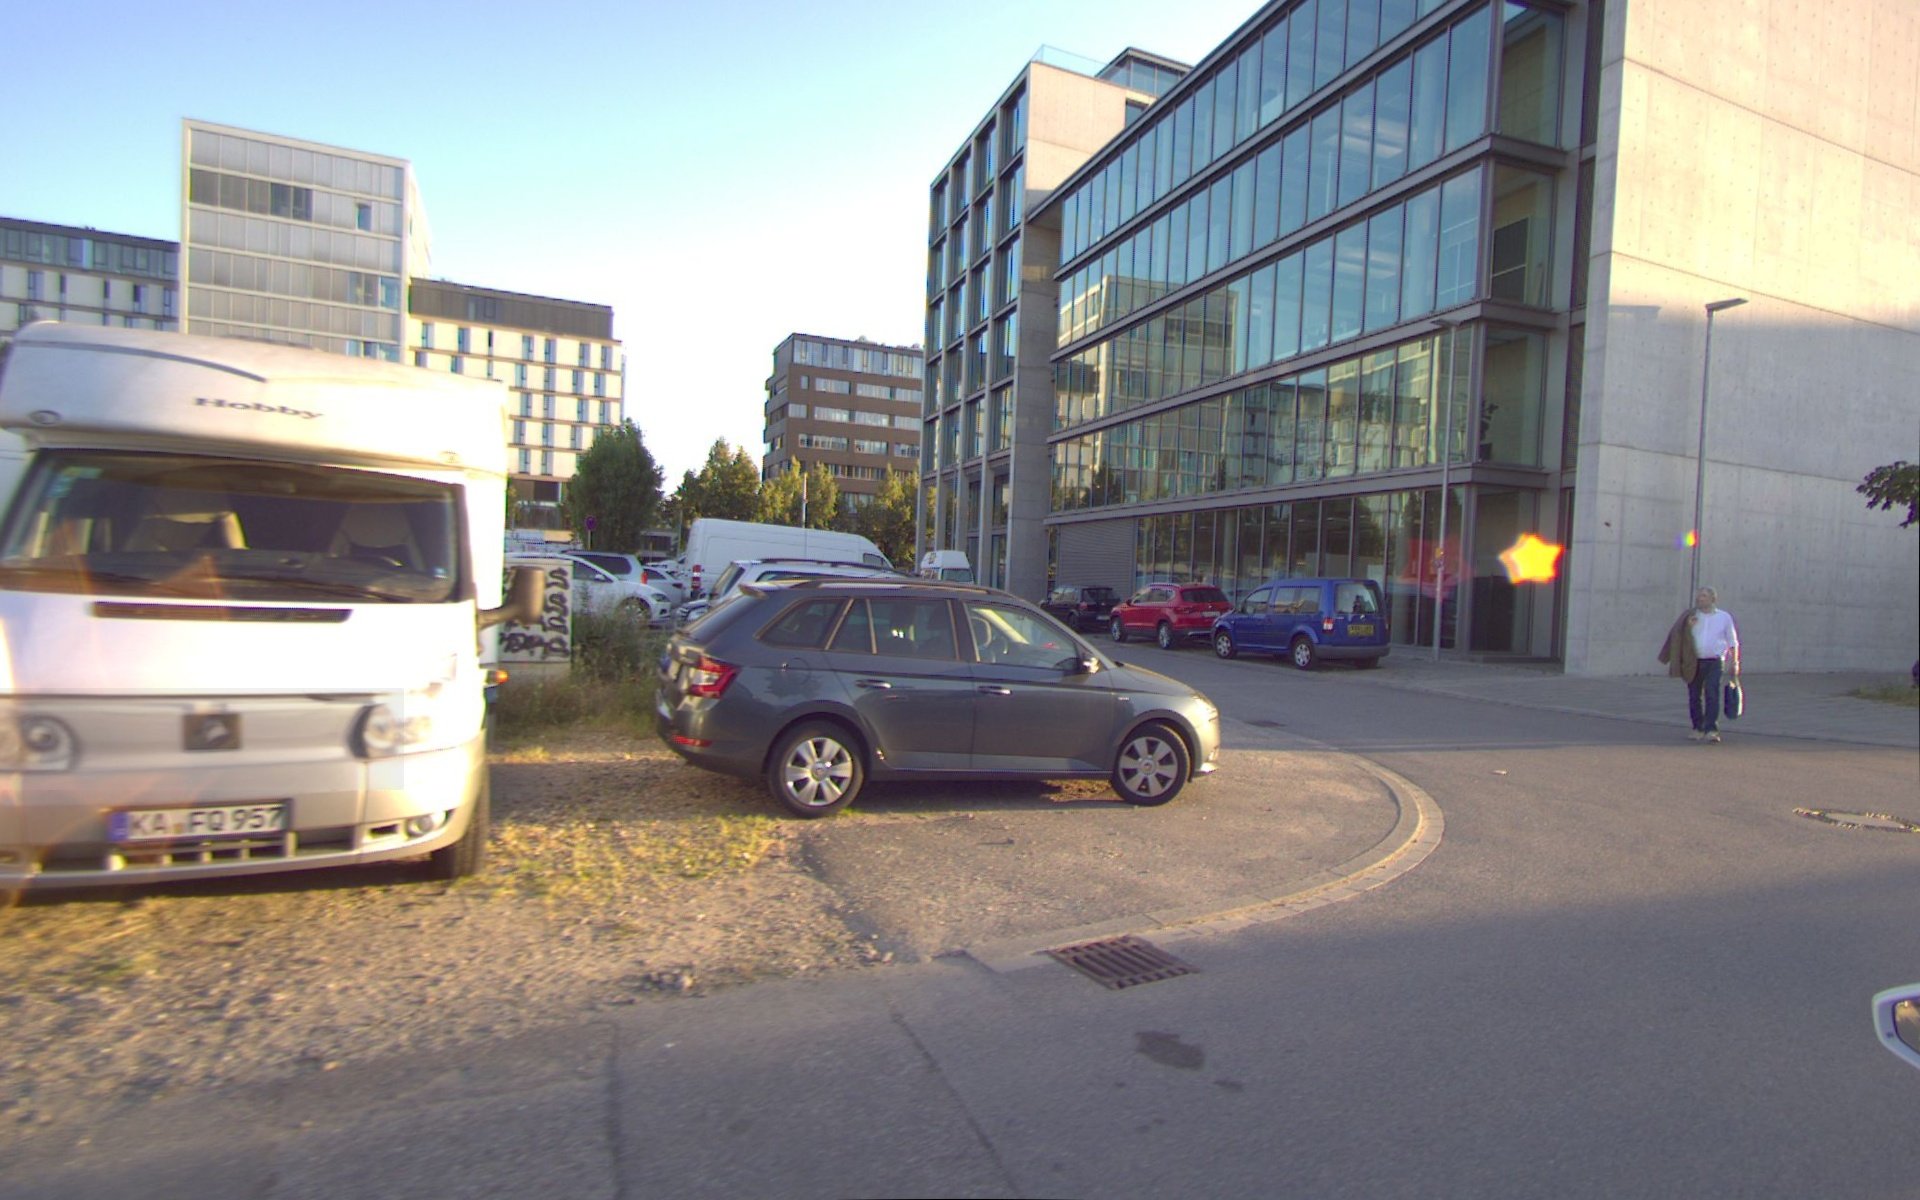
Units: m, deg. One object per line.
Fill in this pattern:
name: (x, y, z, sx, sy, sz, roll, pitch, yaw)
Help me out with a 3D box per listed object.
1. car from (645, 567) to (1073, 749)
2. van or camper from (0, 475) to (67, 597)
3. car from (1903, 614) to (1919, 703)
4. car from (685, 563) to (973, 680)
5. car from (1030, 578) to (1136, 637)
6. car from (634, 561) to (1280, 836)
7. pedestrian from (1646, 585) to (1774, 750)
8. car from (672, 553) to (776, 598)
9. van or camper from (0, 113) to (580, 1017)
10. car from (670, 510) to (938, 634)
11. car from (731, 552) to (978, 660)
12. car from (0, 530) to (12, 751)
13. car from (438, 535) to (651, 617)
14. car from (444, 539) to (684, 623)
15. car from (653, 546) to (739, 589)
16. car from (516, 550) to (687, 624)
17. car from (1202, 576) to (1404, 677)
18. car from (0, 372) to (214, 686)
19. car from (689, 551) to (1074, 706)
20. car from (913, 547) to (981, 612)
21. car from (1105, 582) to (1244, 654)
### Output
car: (-0.965, 0.490, 9.444, 3.668, 1.441, 1.659, 2, 1, -22)
van or camper: (-24.385, -1.579, 22.238, 6.556, 2.726, 2.006, 2, 3, -28)
car: (17.871, 1.095, 15.999, 1.746, 1.502, 3.722, 1, 3, -25)
car: (-2.154, 0.362, 16.618, 4.346, 1.499, 1.658, 5, 1, -24)
car: (3.802, 0.171, 31.693, 1.750, 1.633, 4.037, -1, 3, -19)
car: (-0.040, 0.613, 7.241, 4.296, 1.539, 1.683, 2, 2, -21)
pedestrian: (8.936, 0.769, 12.010, 0.884, 1.875, 0.857, 1, 1, 11)
car: (-10.216, -1.077, 43.559, 4.073, 1.519, 1.658, 5, 1, -24)
van or camper: (-4.165, -0.232, 6.505, 2.378, 2.936, 6.713, 2, 2, -27)
car: (-4.270, -0.701, 27.745, 6.884, 2.839, 2.201, 4, 1, -23)
car: (-2.015, 0.127, 19.362, 4.346, 1.642, 1.658, 5, 1, -24)
car: (-6.368, 0.345, 5.180, 1.677, 1.496, 3.579, 1, 3, -36)
car: (-9.480, -0.549, 23.128, 4.344, 1.643, 1.658, 2, 3, -24)
car: (-7.947, -0.372, 20.374, 4.344, 1.520, 1.658, 1, 3, -24)
car: (-13.537, -1.673, 51.575, 4.071, 2.053, 1.658, 1, 3, -24)
car: (-10.131, -0.357, 28.432, 4.346, 1.642, 1.658, 5, 1, -24)
car: (7.088, 0.449, 21.224, 1.820, 1.856, 4.078, 0, 2, -21)
car: (-10.357, -0.795, 11.111, 2.194, 2.709, 6.220, 2, 2, -26)
car: (-0.927, 0.340, 11.831, 4.144, 1.499, 1.659, 4, 2, -22)
car: (-0.646, -0.912, 44.615, 1.927, 2.689, 4.041, 2, 1, -16)
car: (5.467, 0.394, 26.142, 1.750, 1.652, 4.037, -1, 2, -19)
